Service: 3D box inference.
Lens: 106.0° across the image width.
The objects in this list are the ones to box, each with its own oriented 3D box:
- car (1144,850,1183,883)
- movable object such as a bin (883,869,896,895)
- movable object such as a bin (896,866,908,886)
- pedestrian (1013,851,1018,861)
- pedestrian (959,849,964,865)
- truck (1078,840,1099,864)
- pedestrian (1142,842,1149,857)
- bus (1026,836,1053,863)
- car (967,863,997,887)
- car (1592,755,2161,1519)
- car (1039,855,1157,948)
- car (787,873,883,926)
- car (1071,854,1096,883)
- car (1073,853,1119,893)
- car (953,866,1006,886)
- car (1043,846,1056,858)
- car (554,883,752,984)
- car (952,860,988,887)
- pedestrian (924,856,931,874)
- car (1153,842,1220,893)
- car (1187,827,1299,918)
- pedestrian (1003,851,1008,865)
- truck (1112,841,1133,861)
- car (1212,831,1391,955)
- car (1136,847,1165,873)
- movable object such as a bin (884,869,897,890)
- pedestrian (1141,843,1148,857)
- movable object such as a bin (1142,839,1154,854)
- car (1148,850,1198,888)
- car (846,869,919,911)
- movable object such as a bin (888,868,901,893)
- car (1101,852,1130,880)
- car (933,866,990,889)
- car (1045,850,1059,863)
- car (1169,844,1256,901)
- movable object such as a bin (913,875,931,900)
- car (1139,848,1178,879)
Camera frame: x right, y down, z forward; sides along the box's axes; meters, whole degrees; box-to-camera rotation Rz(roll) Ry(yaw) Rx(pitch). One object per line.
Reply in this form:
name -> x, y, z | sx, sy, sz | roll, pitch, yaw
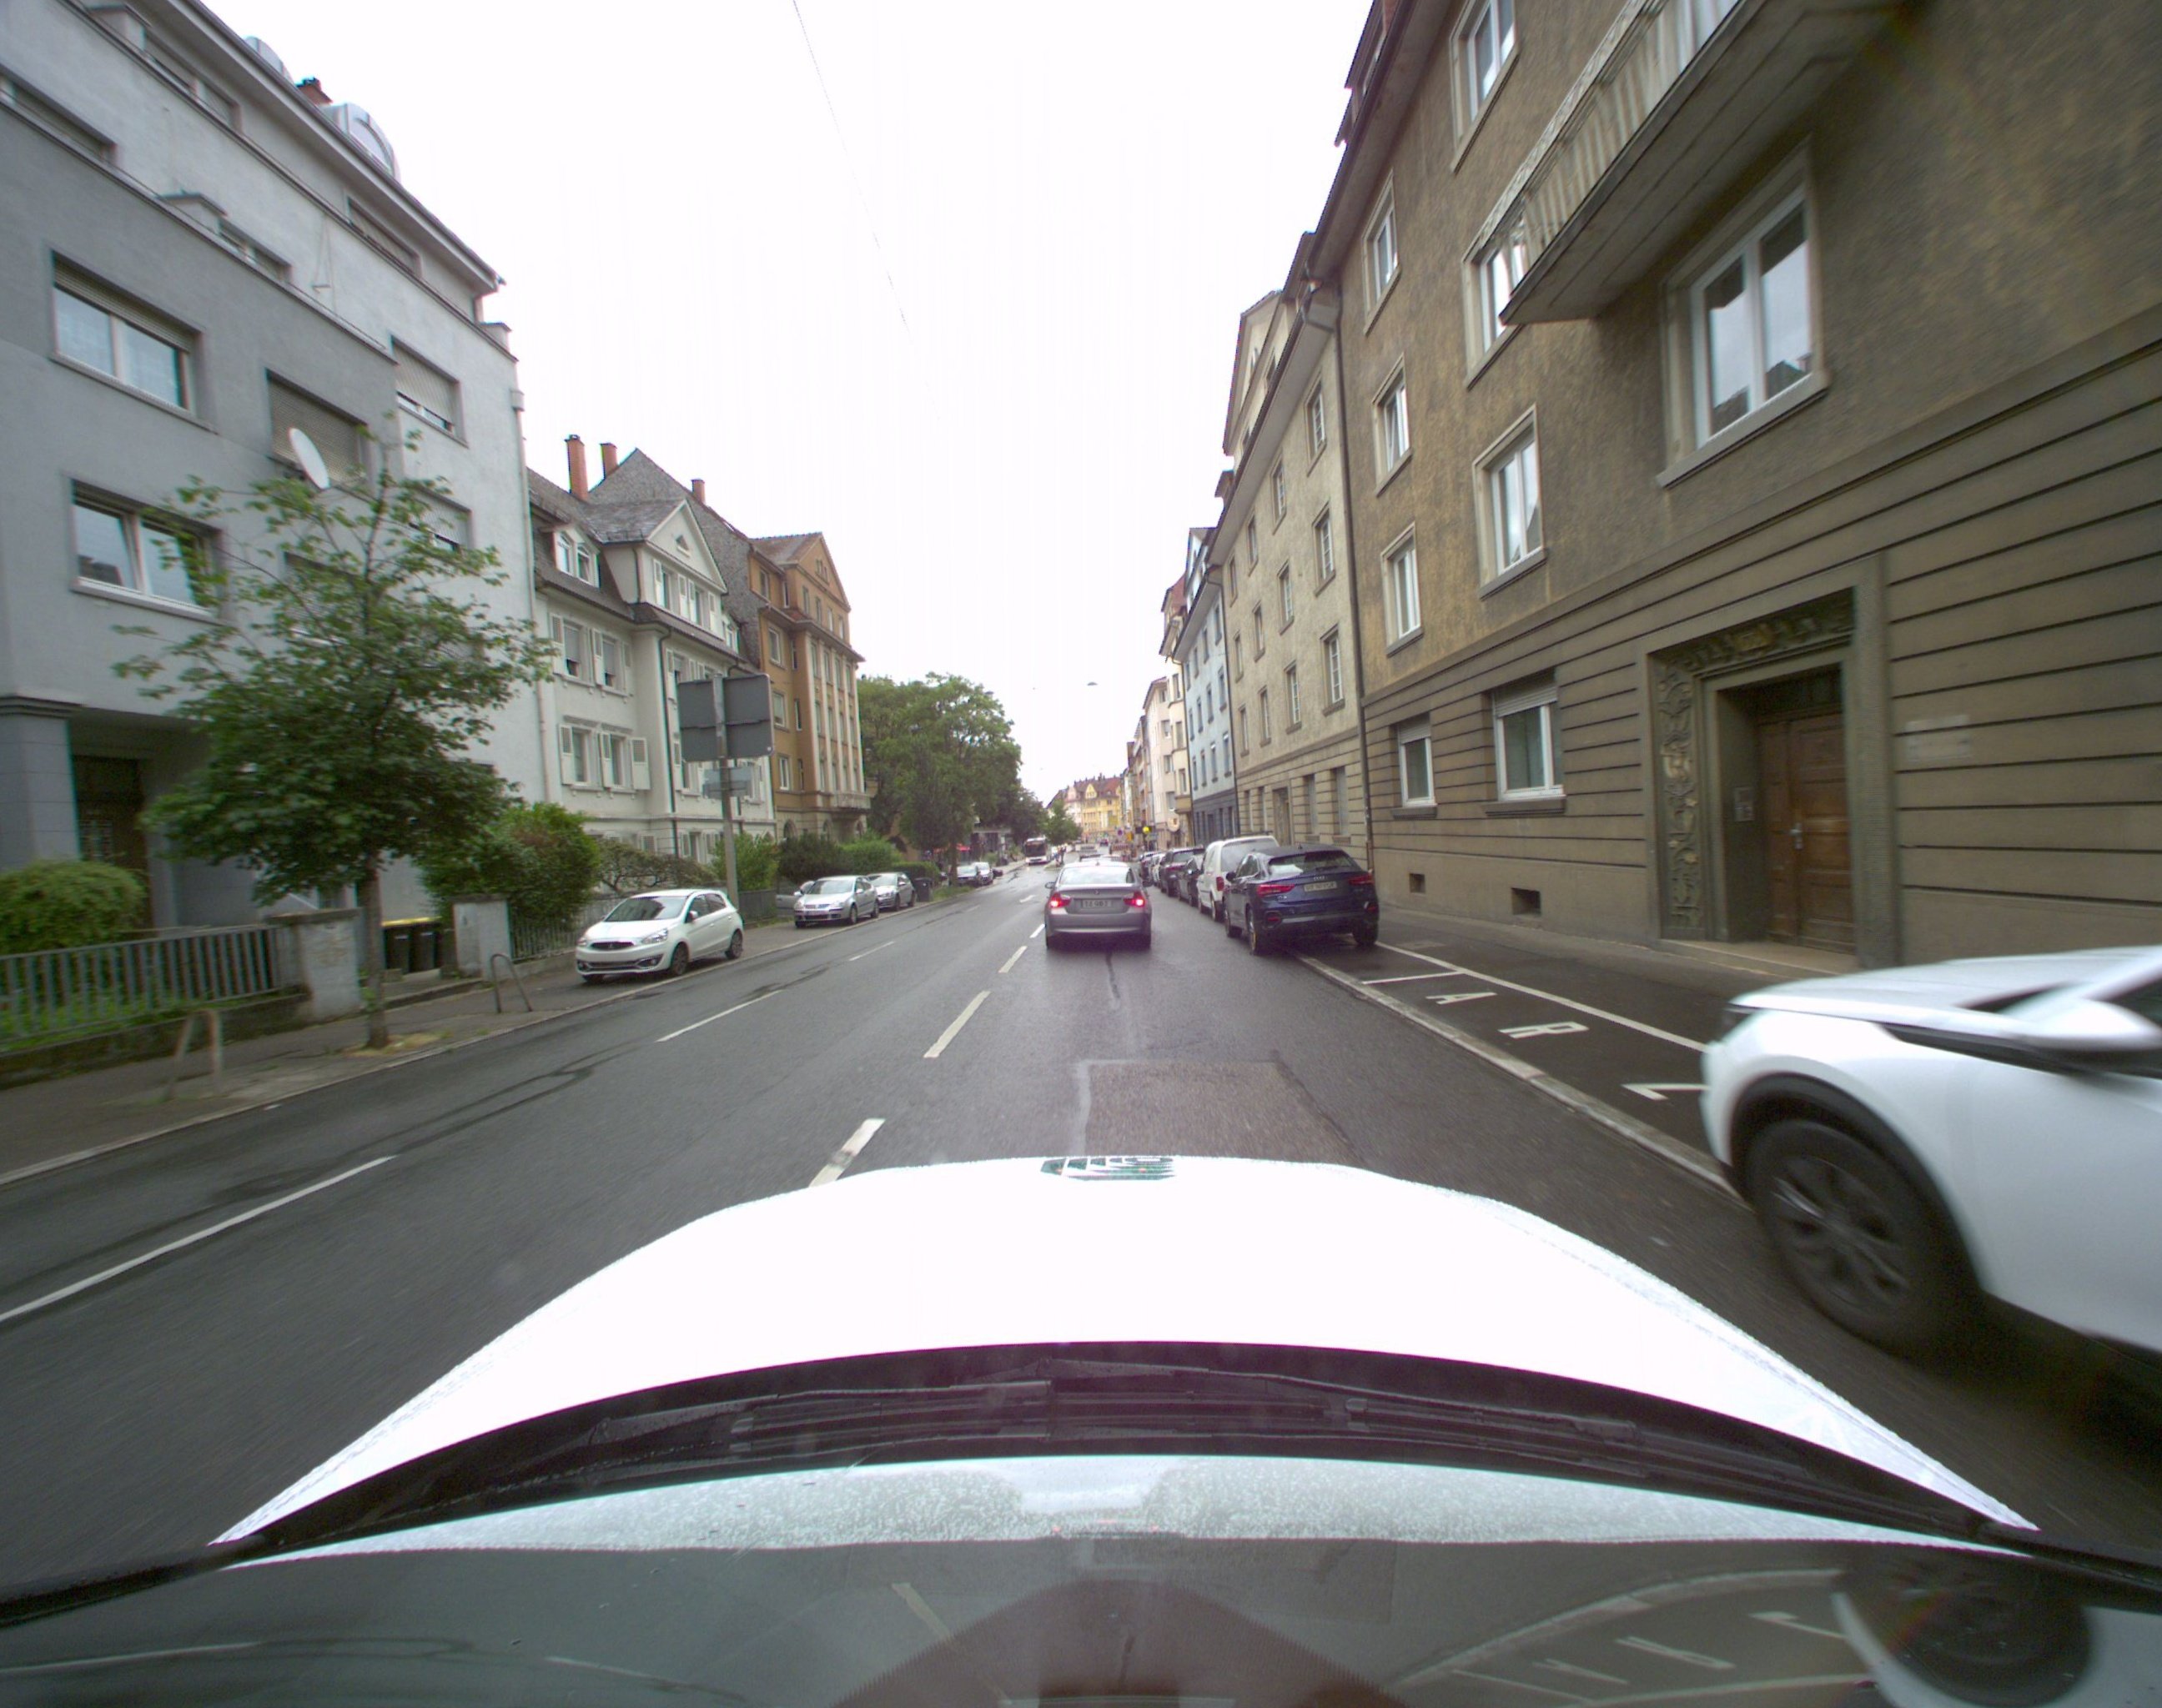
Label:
car -> 4.147, 0.599, 41.384 | 1.577, 1.429, 3.595 | -6, 0, 1
movable object such as a bin -> -9.849, 1.421, 41.863 | 0.438, 1.299, 0.650 | -4, 0, 0
movable object such as a bin -> -9.768, 1.206, 44.532 | 0.425, 1.040, 0.650 | -4, 0, 0
pedestrian -> -9.211, 0.327, 114.438 | 0.617, 1.378, 0.545 | -1, -1, 2
pedestrian -> -13.570, 0.310, 92.467 | 0.464, 1.790, 0.543 | -1, -1, -6
truck -> 0.852, -0.140, 90.146 | 2.209, 2.544, 4.779 | -1, -1, 0
pedestrian -> 7.547, -0.544, 95.181 | 0.749, 1.661, 0.753 | -1, -1, 4
bus -> -5.254, -0.432, 104.522 | 2.672, 3.201, 11.954 | -1, -1, 0
car -> -6.658, 1.382, 55.182 | 1.628, 1.454, 3.836 | -3, 0, -2
car -> 3.085, 0.547, 1.388 | 1.627, 1.638, 4.194 | -6, 0, 0
car -> 0.297, 0.755, 14.032 | 1.749, 1.362, 3.165 | -2, -1, 1
car -> -7.608, 1.370, 25.576 | 1.676, 1.390, 3.911 | -3, 0, 2
car -> 0.115, 1.022, 58.477 | 1.700, 2.014, 3.998 | -1, -1, -1
car -> 0.520, 0.699, 30.528 | 1.597, 1.420, 3.286 | -1, -1, -1
car -> -7.926, 1.686, 63.767 | 3.803, 1.390, 1.742 | -2, -1, 0
car -> -5.438, -0.384, 140.384 | 1.987, 2.014, 3.999 | -1, -1, 0
car -> -7.830, 1.374, 15.331 | 1.641, 1.508, 3.795 | -3, -1, 0
car -> -6.895, 1.185, 50.798 | 1.649, 1.454, 3.941 | -3, 0, 0
pedestrian -> -16.353, 1.188, 86.588 | 0.634, 1.816, 0.635 | -4, 1, -11
car -> 3.809, 0.473, 30.090 | 1.835, 1.621, 4.207 | -5, -1, 0
car -> 3.747, 0.397, 19.537 | 1.784, 1.817, 4.080 | -5, 0, 1
pedestrian -> -9.157, 0.463, 98.759 | 0.542, 1.709, 0.465 | -1, -1, -6
truck -> 4.575, -0.320, 90.997 | 2.207, 2.117, 4.654 | 0, 0, 2
car -> 3.370, 0.529, 13.294 | 1.784, 1.548, 4.227 | -5, 0, 2
car -> 4.548, 0.383, 53.486 | 1.563, 1.464, 4.090 | -5, 0, 2
movable object such as a bin -> -9.816, 1.326, 42.051 | 0.438, 1.039, 0.650 | -4, 0, 0
pedestrian -> 7.878, -0.462, 101.106 | 0.745, 1.661, 0.838 | -1, -1, 7
movable object such as a bin -> 8.061, -0.853, 98.145 | 1.119, 1.702, 1.433 | -4, -1, -1
car -> 4.078, 0.642, 36.710 | 1.723, 1.429, 3.974 | -6, 0, 1
car -> -7.571, 1.356, 31.448 | 1.676, 1.390, 3.937 | -2, 0, 2
movable object such as a bin -> -9.784, 1.383, 42.809 | 0.438, 1.308, 0.650 | -4, 0, 0
car -> 1.807, 0.623, 42.094 | 1.430, 1.356, 3.764 | -1, -1, 3
car -> -8.963, 1.784, 61.246 | 3.800, 1.389, 1.744 | -4, 1, 3
car -> -4.469, 0.393, 124.987 | 1.987, 2.014, 3.999 | -1, -1, 0
car -> 3.872, 0.512, 24.686 | 1.835, 1.409, 4.387 | -6, 0, 0
movable object such as a bin -> -7.142, 1.508, 36.564 | 0.627, 1.058, 0.600 | -4, -1, 1
car -> 4.462, 0.553, 47.394 | 1.811, 1.557, 4.295 | -5, 0, 2
